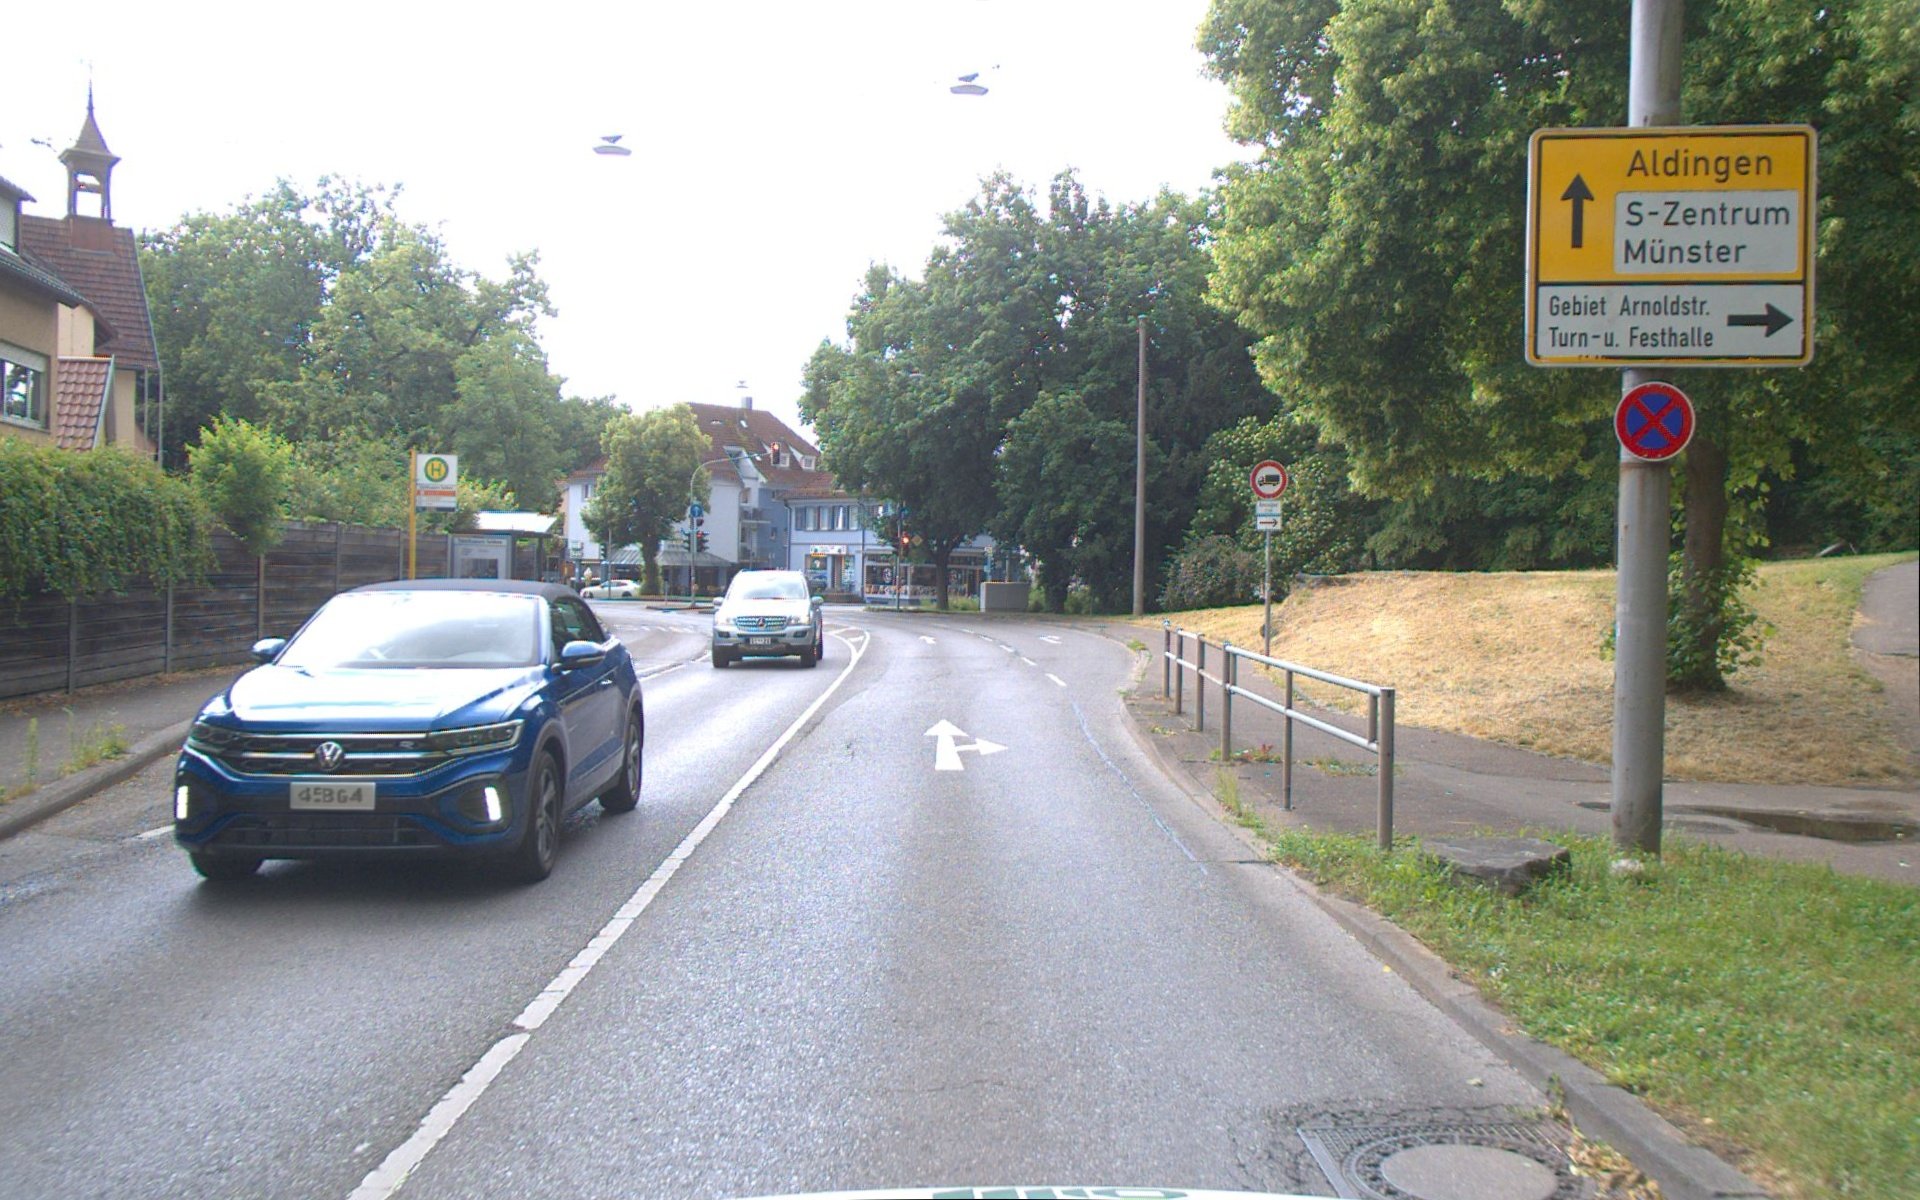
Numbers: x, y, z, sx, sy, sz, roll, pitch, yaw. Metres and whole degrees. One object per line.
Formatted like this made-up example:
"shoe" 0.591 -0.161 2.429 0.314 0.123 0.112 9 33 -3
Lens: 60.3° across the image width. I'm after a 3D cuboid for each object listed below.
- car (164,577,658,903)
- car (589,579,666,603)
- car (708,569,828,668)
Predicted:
"car" -2.916 0.619 9.730 1.681 1.494 4.098 0 1 -2
"car" -21.448 -0.565 106.682 4.480 1.544 2.002 0 1 14
"car" -3.589 0.294 31.664 1.896 1.754 4.690 0 1 -2
